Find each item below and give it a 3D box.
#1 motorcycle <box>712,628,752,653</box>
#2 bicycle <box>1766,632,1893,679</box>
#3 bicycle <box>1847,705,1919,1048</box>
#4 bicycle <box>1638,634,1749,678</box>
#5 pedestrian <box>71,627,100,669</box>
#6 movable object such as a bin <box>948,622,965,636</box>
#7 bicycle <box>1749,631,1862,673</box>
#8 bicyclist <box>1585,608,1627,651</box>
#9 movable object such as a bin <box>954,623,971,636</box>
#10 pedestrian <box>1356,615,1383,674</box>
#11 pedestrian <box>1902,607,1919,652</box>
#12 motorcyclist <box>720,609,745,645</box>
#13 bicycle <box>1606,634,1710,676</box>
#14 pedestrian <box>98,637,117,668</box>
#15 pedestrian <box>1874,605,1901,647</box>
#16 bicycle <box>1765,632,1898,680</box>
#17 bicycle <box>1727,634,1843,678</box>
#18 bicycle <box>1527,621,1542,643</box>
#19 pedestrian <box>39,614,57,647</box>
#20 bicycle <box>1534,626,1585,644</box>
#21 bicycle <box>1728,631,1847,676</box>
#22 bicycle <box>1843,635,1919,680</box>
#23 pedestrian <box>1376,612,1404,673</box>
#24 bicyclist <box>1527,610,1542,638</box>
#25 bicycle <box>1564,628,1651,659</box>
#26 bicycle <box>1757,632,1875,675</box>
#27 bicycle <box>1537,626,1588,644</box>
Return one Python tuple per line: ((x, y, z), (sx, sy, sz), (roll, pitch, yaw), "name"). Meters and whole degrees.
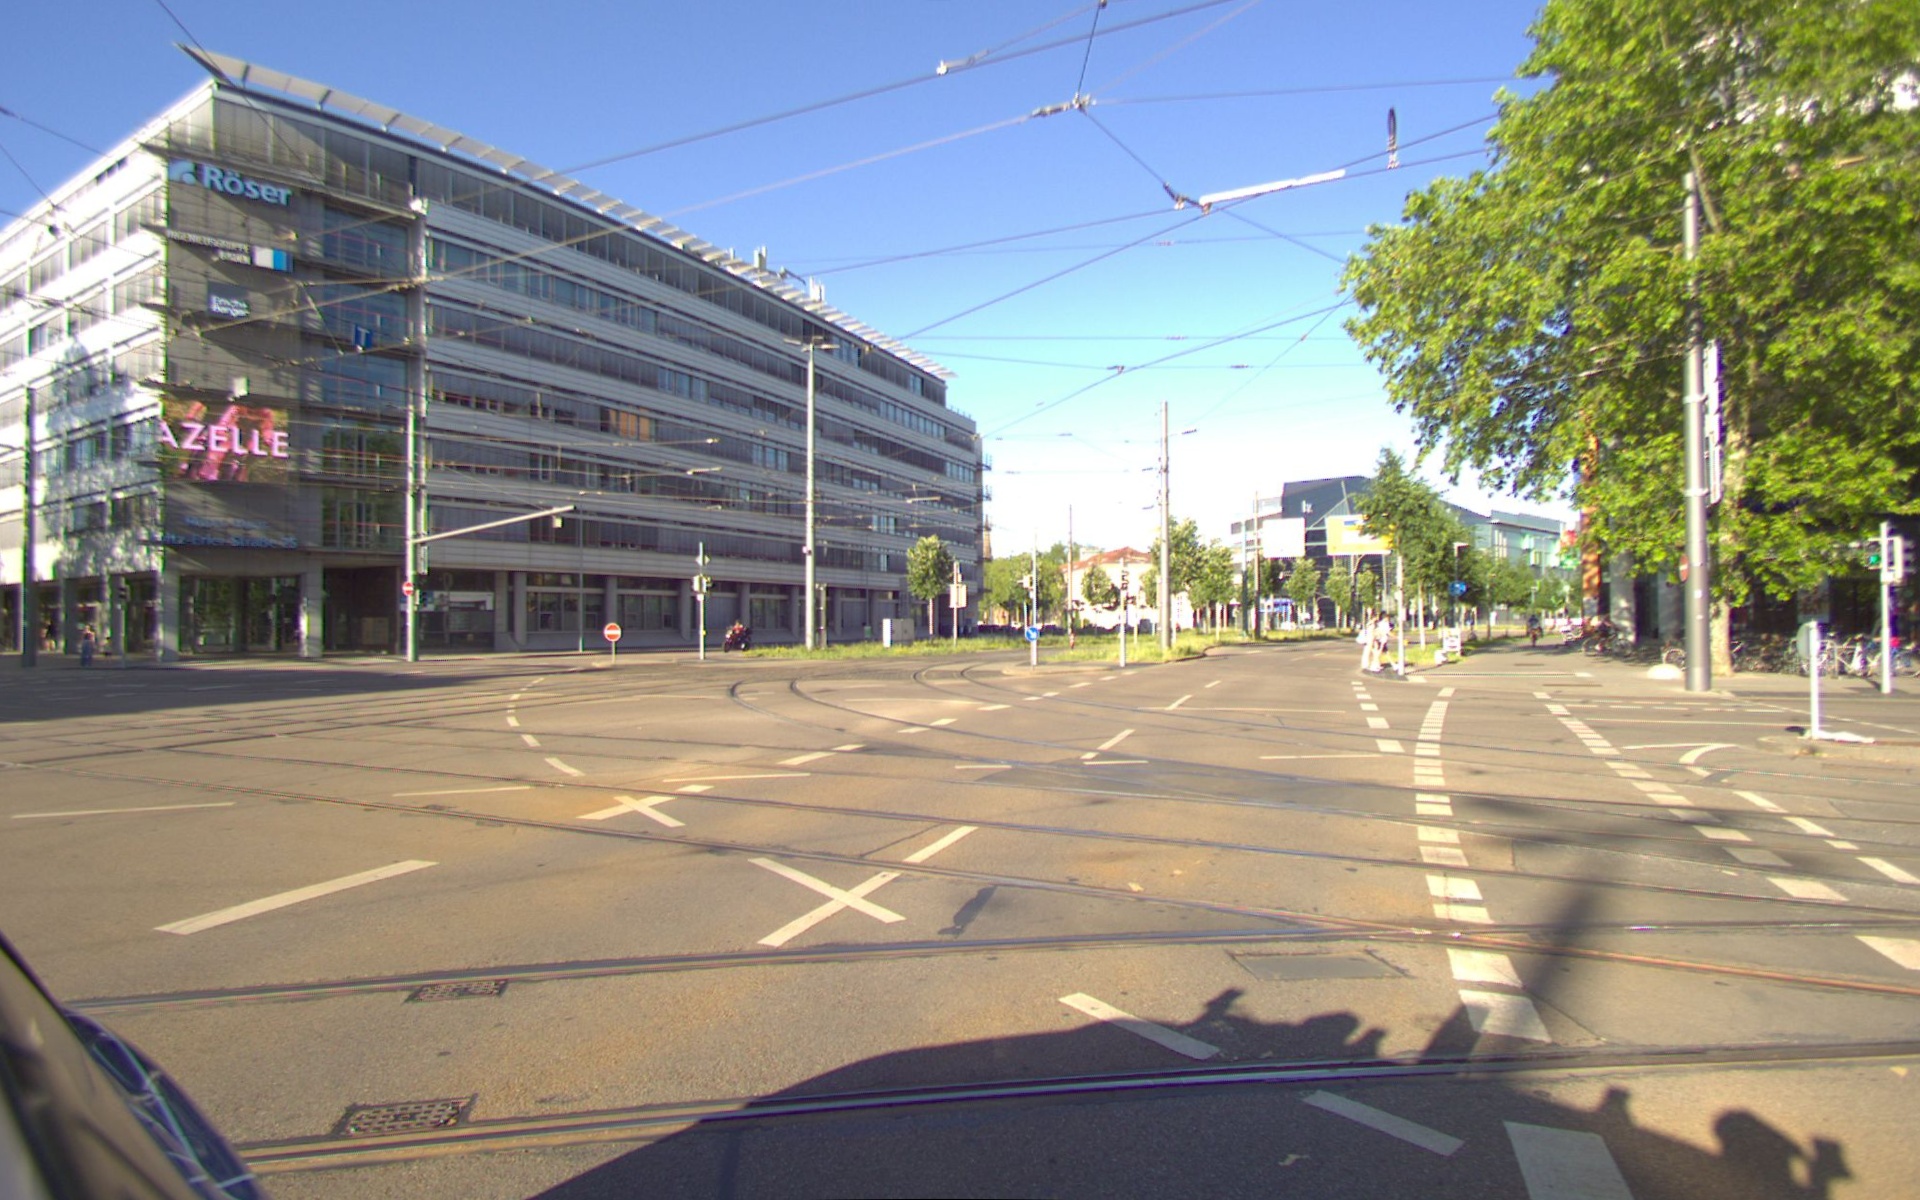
((-12.089, 2.150, 53.770), (0.818, 1.230, 2.235), (0, 0, 27), "motorcycle")
((22.037, 1.396, 25.713), (2.357, 1.137, 0.593), (-1, -2, 30), "bicycle")
((4.426, 0.964, 3.184), (2.358, 1.137, 0.593), (-1, -2, 31), "bicycle")
((19.795, 1.497, 27.376), (2.358, 1.137, 0.593), (-1, -2, 31), "bicycle")
((-35.156, 1.912, 40.686), (0.789, 1.653, 0.655), (-2, -2, 27), "pedestrian")
((-0.302, 2.880, 99.920), (1.170, 1.311, 1.315), (-2, -1, 30), "movable object such as a bin")
((23.884, 1.455, 28.651), (2.357, 1.137, 0.593), (-1, -2, 30), "bicycle")
((23.948, 1.073, 37.521), (0.880, 1.560, 0.942), (0, -1, -22), "bicyclist")
((0.293, 2.953, 101.115), (1.170, 1.311, 1.315), (-2, -1, 30), "movable object such as a bin")
((13.367, 1.430, 33.029), (0.730, 1.884, 0.692), (-1, -1, 29), "pedestrian")
((35.866, 1.104, 37.905), (0.697, 1.665, 0.698), (-2, -1, 34), "pedestrian")
((-12.092, 1.426, 53.780), (0.818, 1.871, 1.102), (0, 0, 27), "motorcyclist")
((19.886, 1.548, 28.899), (2.358, 1.137, 0.593), (-1, -2, 31), "bicycle")
((-34.567, 2.117, 41.024), (0.459, 1.219, 0.439), (-2, -2, 27), "pedestrian")
((36.839, 1.027, 40.196), (0.705, 1.665, 0.689), (-2, -1, 39), "pedestrian")
((21.235, 1.348, 24.726), (2.357, 1.137, 0.593), (-1, -2, 30), "bicycle")
((22.412, 1.511, 27.546), (2.357, 1.137, 0.593), (-1, -2, 30), "bicycle")
((30.732, 1.688, 54.144), (0.691, 1.145, 1.833), (-1, -1, 29), "bicycle")
((-49.623, 1.667, 55.077), (0.792, 1.747, 0.579), (-4, -2, 39), "pedestrian")
((38.217, 2.238, 64.549), (2.690, 1.112, 0.883), (-2, -2, 41), "bicycle")
((22.032, 1.408, 27.005), (2.357, 1.137, 0.593), (-1, -2, 30), "bicycle")
((24.311, 1.477, 25.991), (2.357, 1.137, 0.593), (-1, -2, 30), "bicycle")
((13.576, 1.335, 31.974), (0.730, 1.884, 0.667), (-1, -1, 27), "pedestrian")
((30.734, 1.261, 54.152), (0.691, 1.472, 0.746), (-1, -1, 30), "bicyclist")
((23.944, 1.590, 37.512), (0.880, 1.112, 2.700), (0, -1, -21), "bicycle")
((23.399, 1.451, 27.732), (2.357, 1.137, 0.593), (-1, -2, 30), "bicycle")
((38.881, 2.261, 65.339), (2.690, 1.112, 0.883), (-2, -2, 41), "bicycle")
